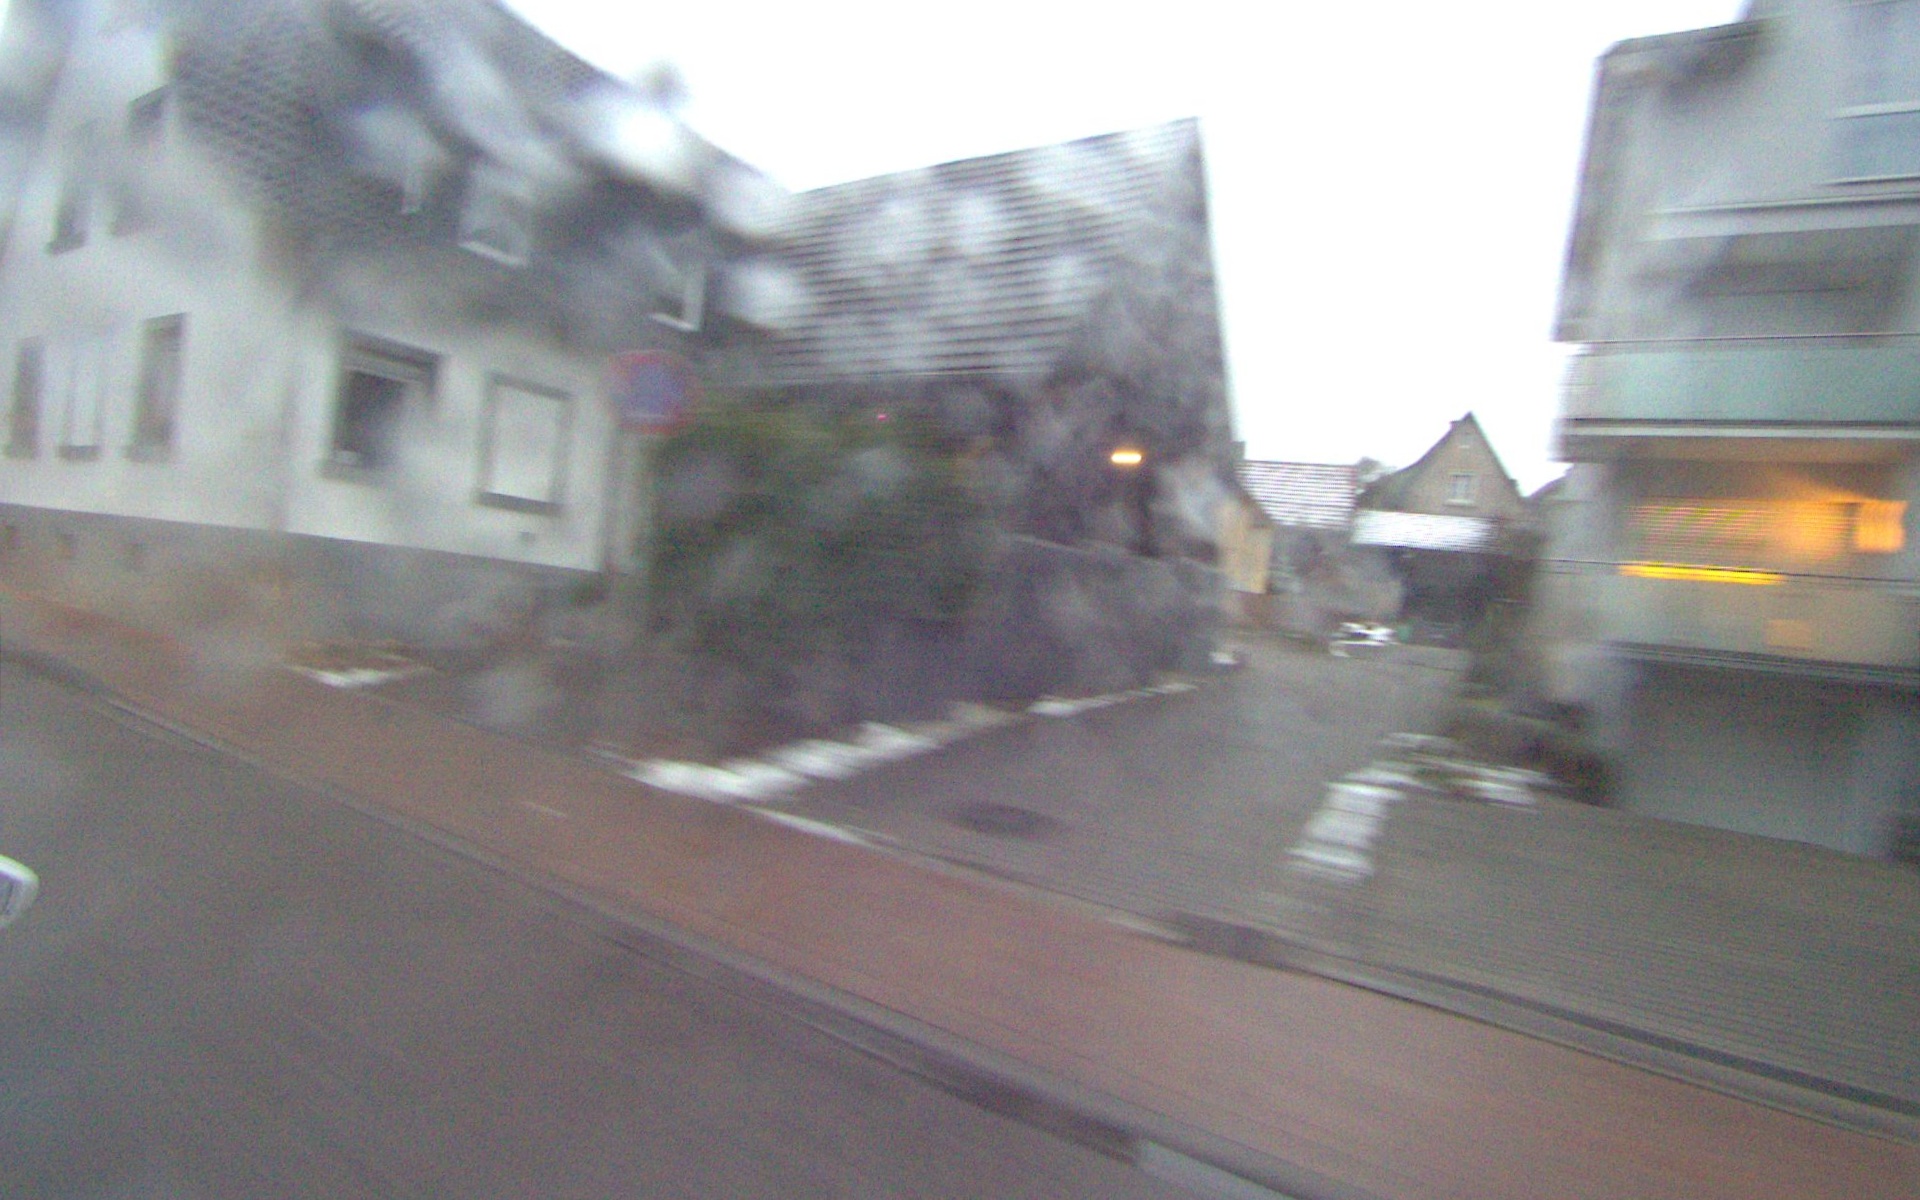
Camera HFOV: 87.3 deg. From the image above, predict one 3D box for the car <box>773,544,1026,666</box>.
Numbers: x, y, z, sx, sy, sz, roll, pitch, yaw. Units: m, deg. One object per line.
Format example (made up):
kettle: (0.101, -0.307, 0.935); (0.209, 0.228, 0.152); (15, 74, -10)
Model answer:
car: (-0.845, 0.147, 16.417); (1.948, 1.562, 4.059); (7, 0, 34)

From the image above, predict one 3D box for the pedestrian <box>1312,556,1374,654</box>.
pedestrian: (9.743, 0.115, 25.619); (1.214, 2.327, 0.997); (7, 4, 21)

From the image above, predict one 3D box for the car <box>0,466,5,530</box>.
car: (-24.817, -2.598, 23.513); (4.198, 1.507, 1.811); (6, 2, 18)

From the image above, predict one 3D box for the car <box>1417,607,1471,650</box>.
car: (20.533, 1.200, 42.812); (1.842, 1.555, 3.994); (7, 2, 24)
